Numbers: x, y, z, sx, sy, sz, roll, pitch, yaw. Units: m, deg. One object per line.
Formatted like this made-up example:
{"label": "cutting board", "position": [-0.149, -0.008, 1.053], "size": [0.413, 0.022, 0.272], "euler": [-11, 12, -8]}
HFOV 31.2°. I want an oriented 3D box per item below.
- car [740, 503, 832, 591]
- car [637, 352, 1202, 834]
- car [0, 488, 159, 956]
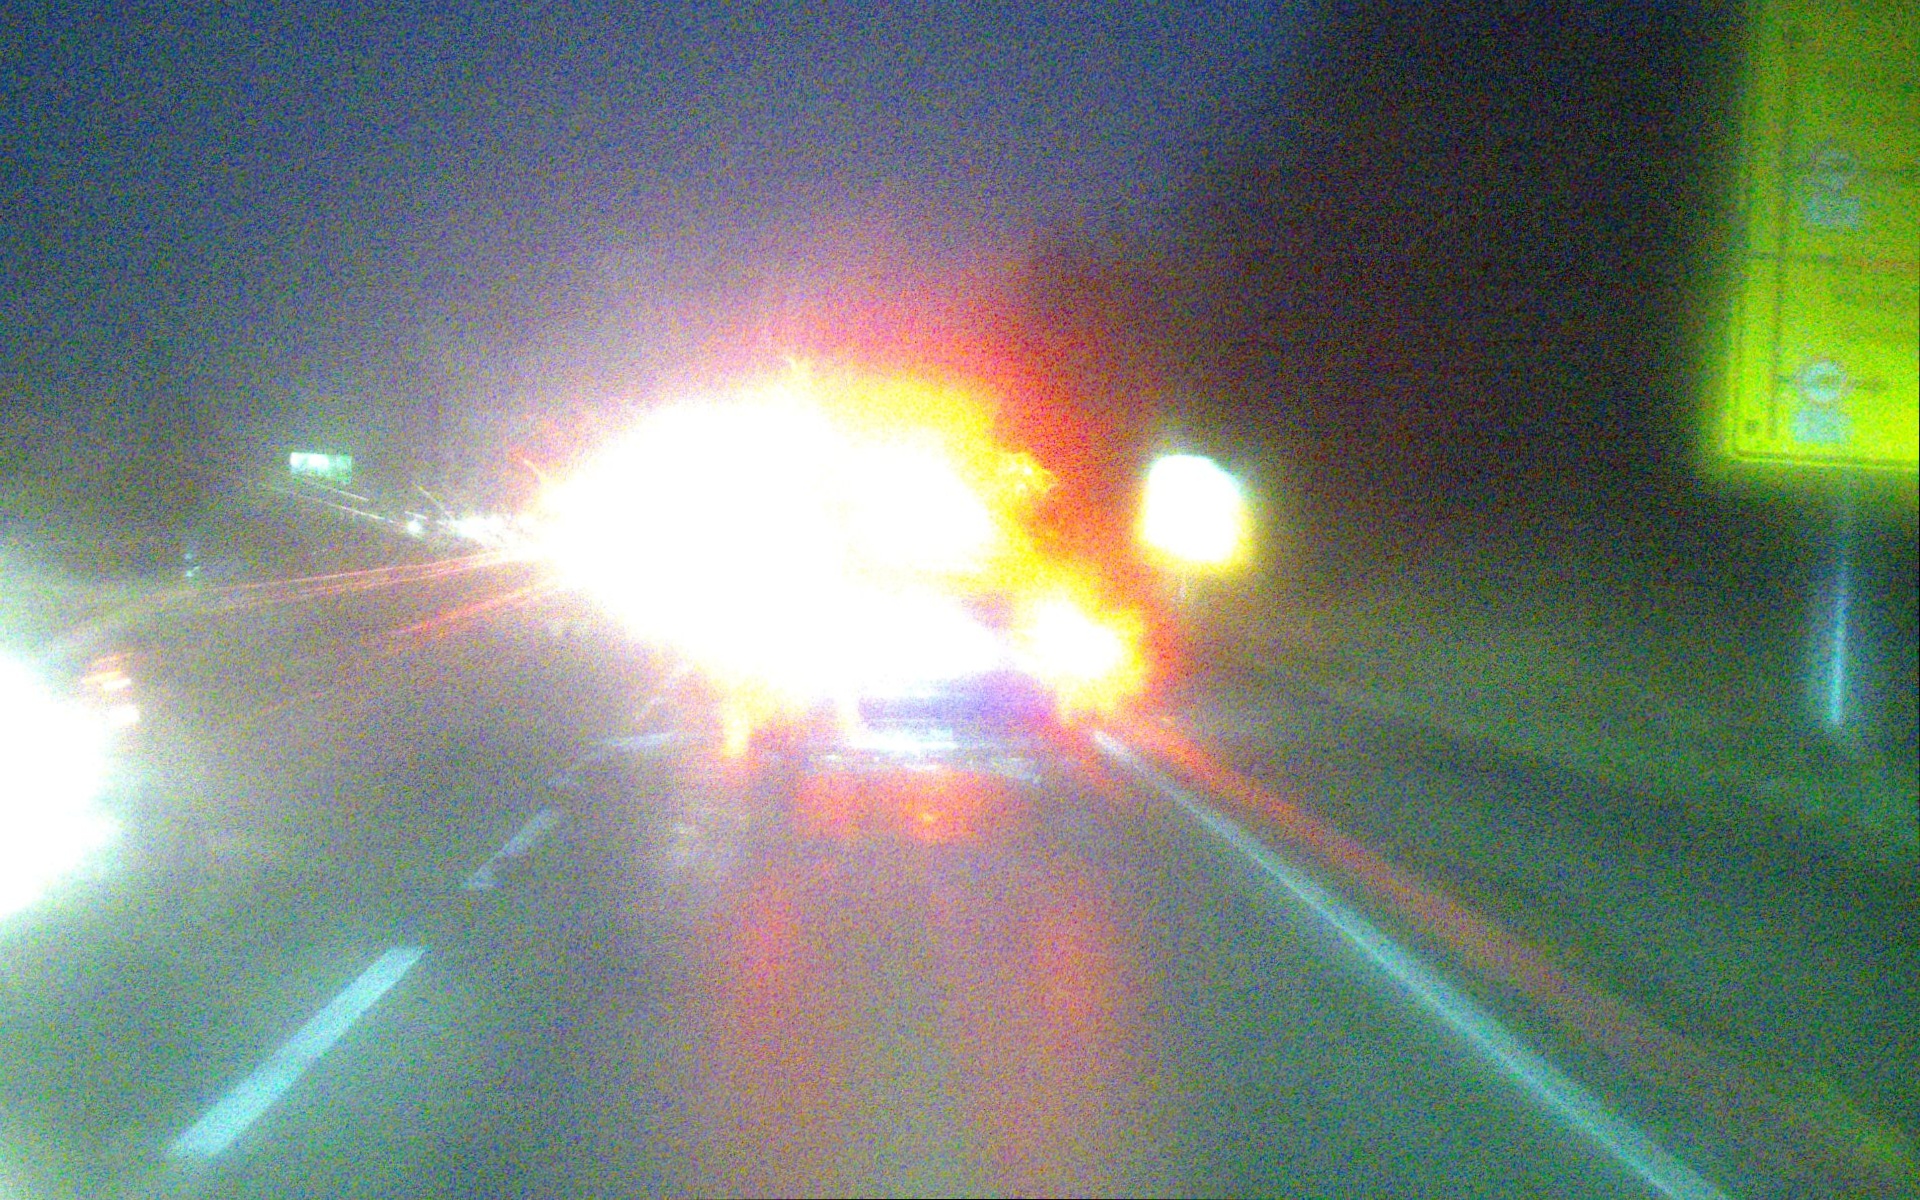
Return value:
{"label": "car", "position": [-4.181, -1.285, 83.222], "size": [1.993, 1.908, 4.001], "euler": [5, 1, -2]}
{"label": "car", "position": [-0.284, -0.103, 19.907], "size": [2.715, 2.299, 6.101], "euler": [1, 1, -2]}
{"label": "car", "position": [-4.162, 0.389, 11.956], "size": [1.862, 1.539, 4.230], "euler": [2, 2, -2]}
